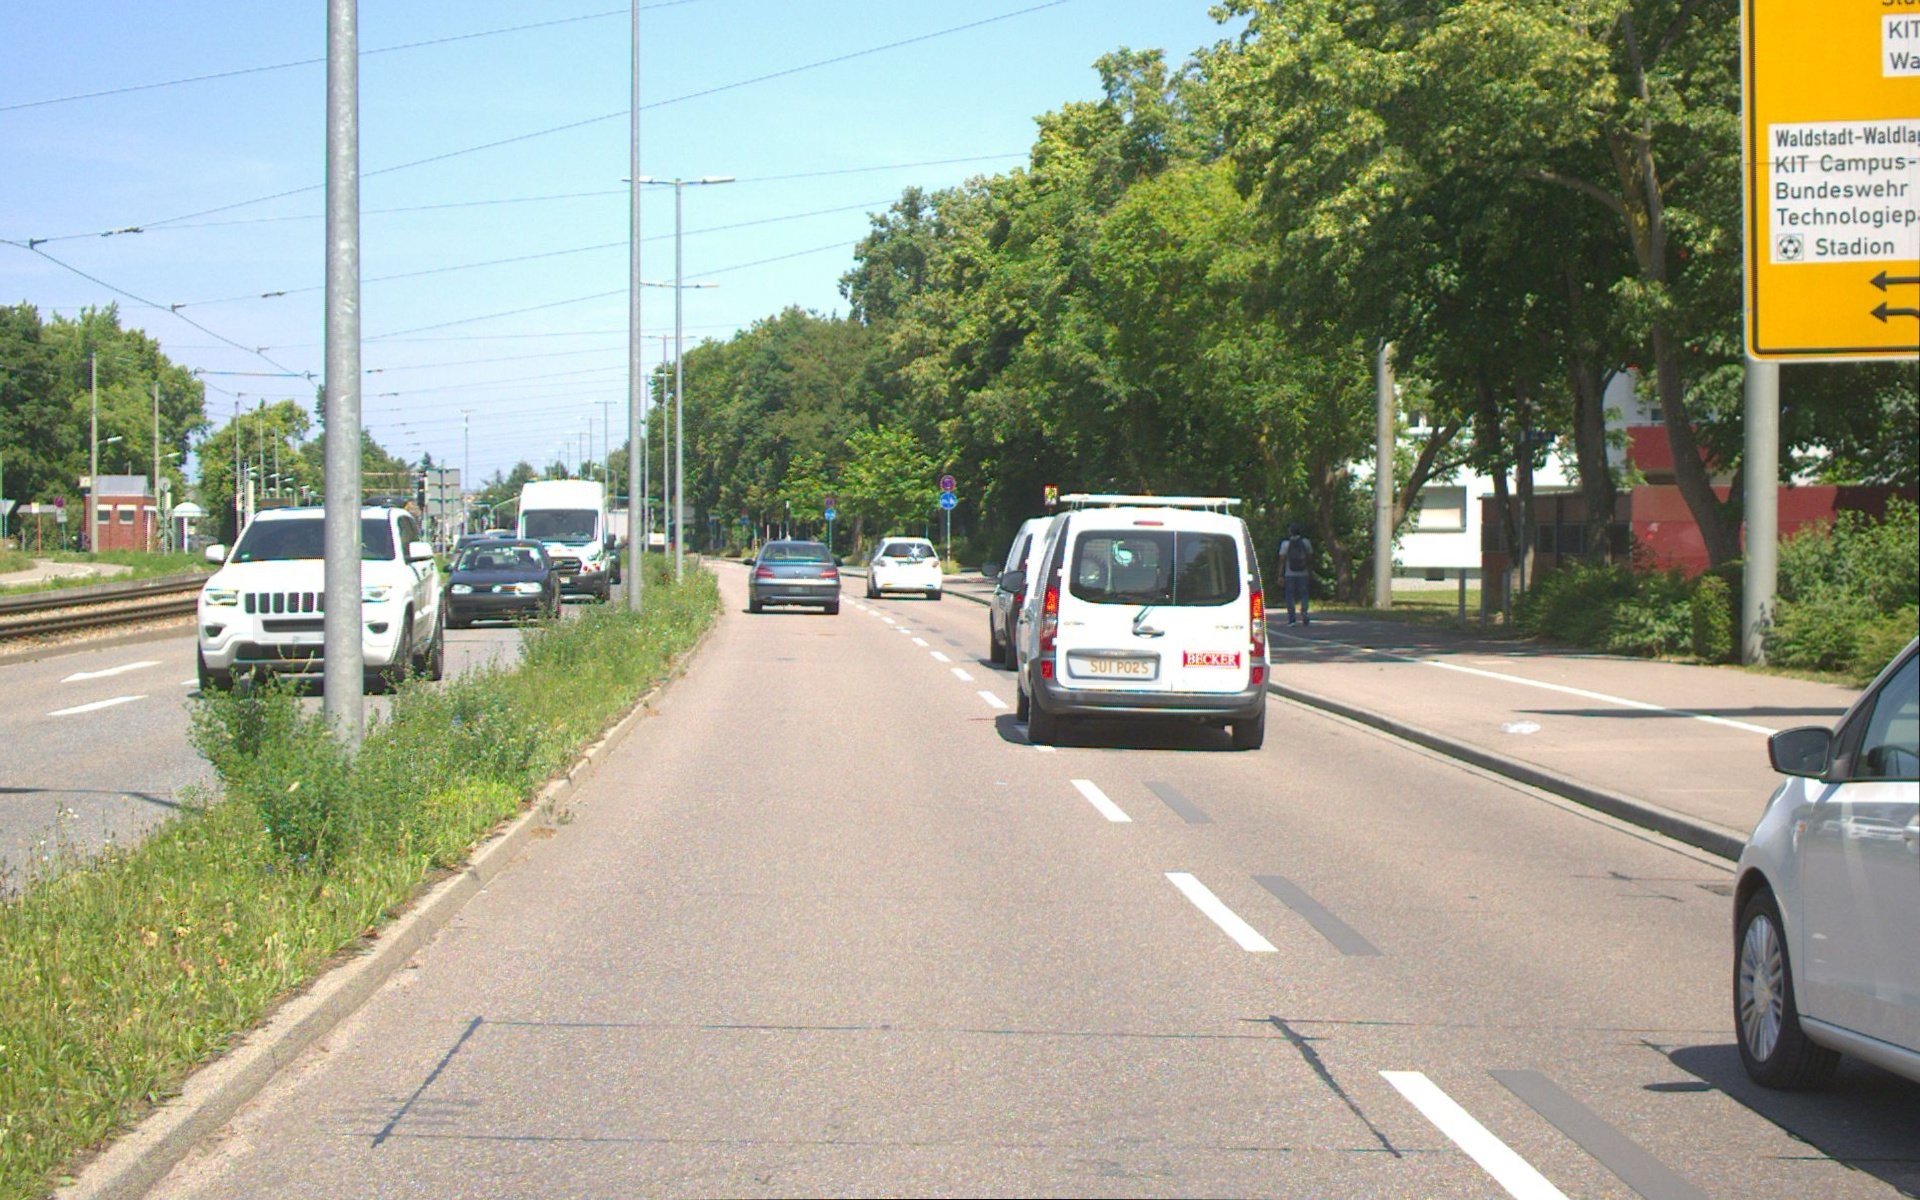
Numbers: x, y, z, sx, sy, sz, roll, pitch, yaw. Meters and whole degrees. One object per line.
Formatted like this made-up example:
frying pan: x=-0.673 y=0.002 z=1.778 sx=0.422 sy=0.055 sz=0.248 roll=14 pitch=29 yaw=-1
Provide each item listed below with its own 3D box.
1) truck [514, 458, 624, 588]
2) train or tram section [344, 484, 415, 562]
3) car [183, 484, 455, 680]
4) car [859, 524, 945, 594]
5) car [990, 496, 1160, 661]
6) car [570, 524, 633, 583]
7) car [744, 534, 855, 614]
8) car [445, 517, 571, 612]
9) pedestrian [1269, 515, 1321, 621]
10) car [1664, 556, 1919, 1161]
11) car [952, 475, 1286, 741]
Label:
truck: x=-8.641 y=-1.718 z=76.332 sx=2.081 sy=2.739 sz=5.548 roll=-1 pitch=1 yaw=-3
train or tram section: x=-30.440 y=-3.979 z=181.472 sx=2.787 sy=3.655 sz=37.528 roll=1 pitch=1 yaw=-8
car: x=-6.078 y=-0.221 z=33.115 sx=1.900 sy=1.742 sz=4.588 roll=-1 pitch=1 yaw=-2
car: x=-1.462 y=-1.013 z=84.982 sx=1.803 sy=1.534 sz=4.001 roll=5 pitch=0 yaw=-4
car: x=1.318 y=-0.295 z=40.946 sx=1.727 sy=1.807 sz=4.001 roll=2 pitch=1 yaw=-2
car: x=-11.042 y=-1.441 z=106.061 sx=1.829 sy=1.750 sz=4.489 roll=-1 pitch=1 yaw=-5
car: x=-3.127 y=-0.524 z=66.456 sx=1.801 sy=1.481 sz=4.001 roll=1 pitch=1 yaw=-7
car: x=-7.284 y=-0.605 z=55.667 sx=1.716 sy=1.454 sz=3.914 roll=0 pitch=1 yaw=-3
pedestrian: x=5.264 y=-0.510 z=54.040 sx=0.668 sy=1.638 sz=0.857 roll=1 pitch=1 yaw=-4
car: x=3.127 y=0.640 z=8.724 sx=1.658 sy=1.444 sz=3.855 roll=1 pitch=1 yaw=-3
car: x=1.147 y=0.019 z=27.033 sx=1.824 sy=1.875 sz=4.457 roll=1 pitch=1 yaw=-7
